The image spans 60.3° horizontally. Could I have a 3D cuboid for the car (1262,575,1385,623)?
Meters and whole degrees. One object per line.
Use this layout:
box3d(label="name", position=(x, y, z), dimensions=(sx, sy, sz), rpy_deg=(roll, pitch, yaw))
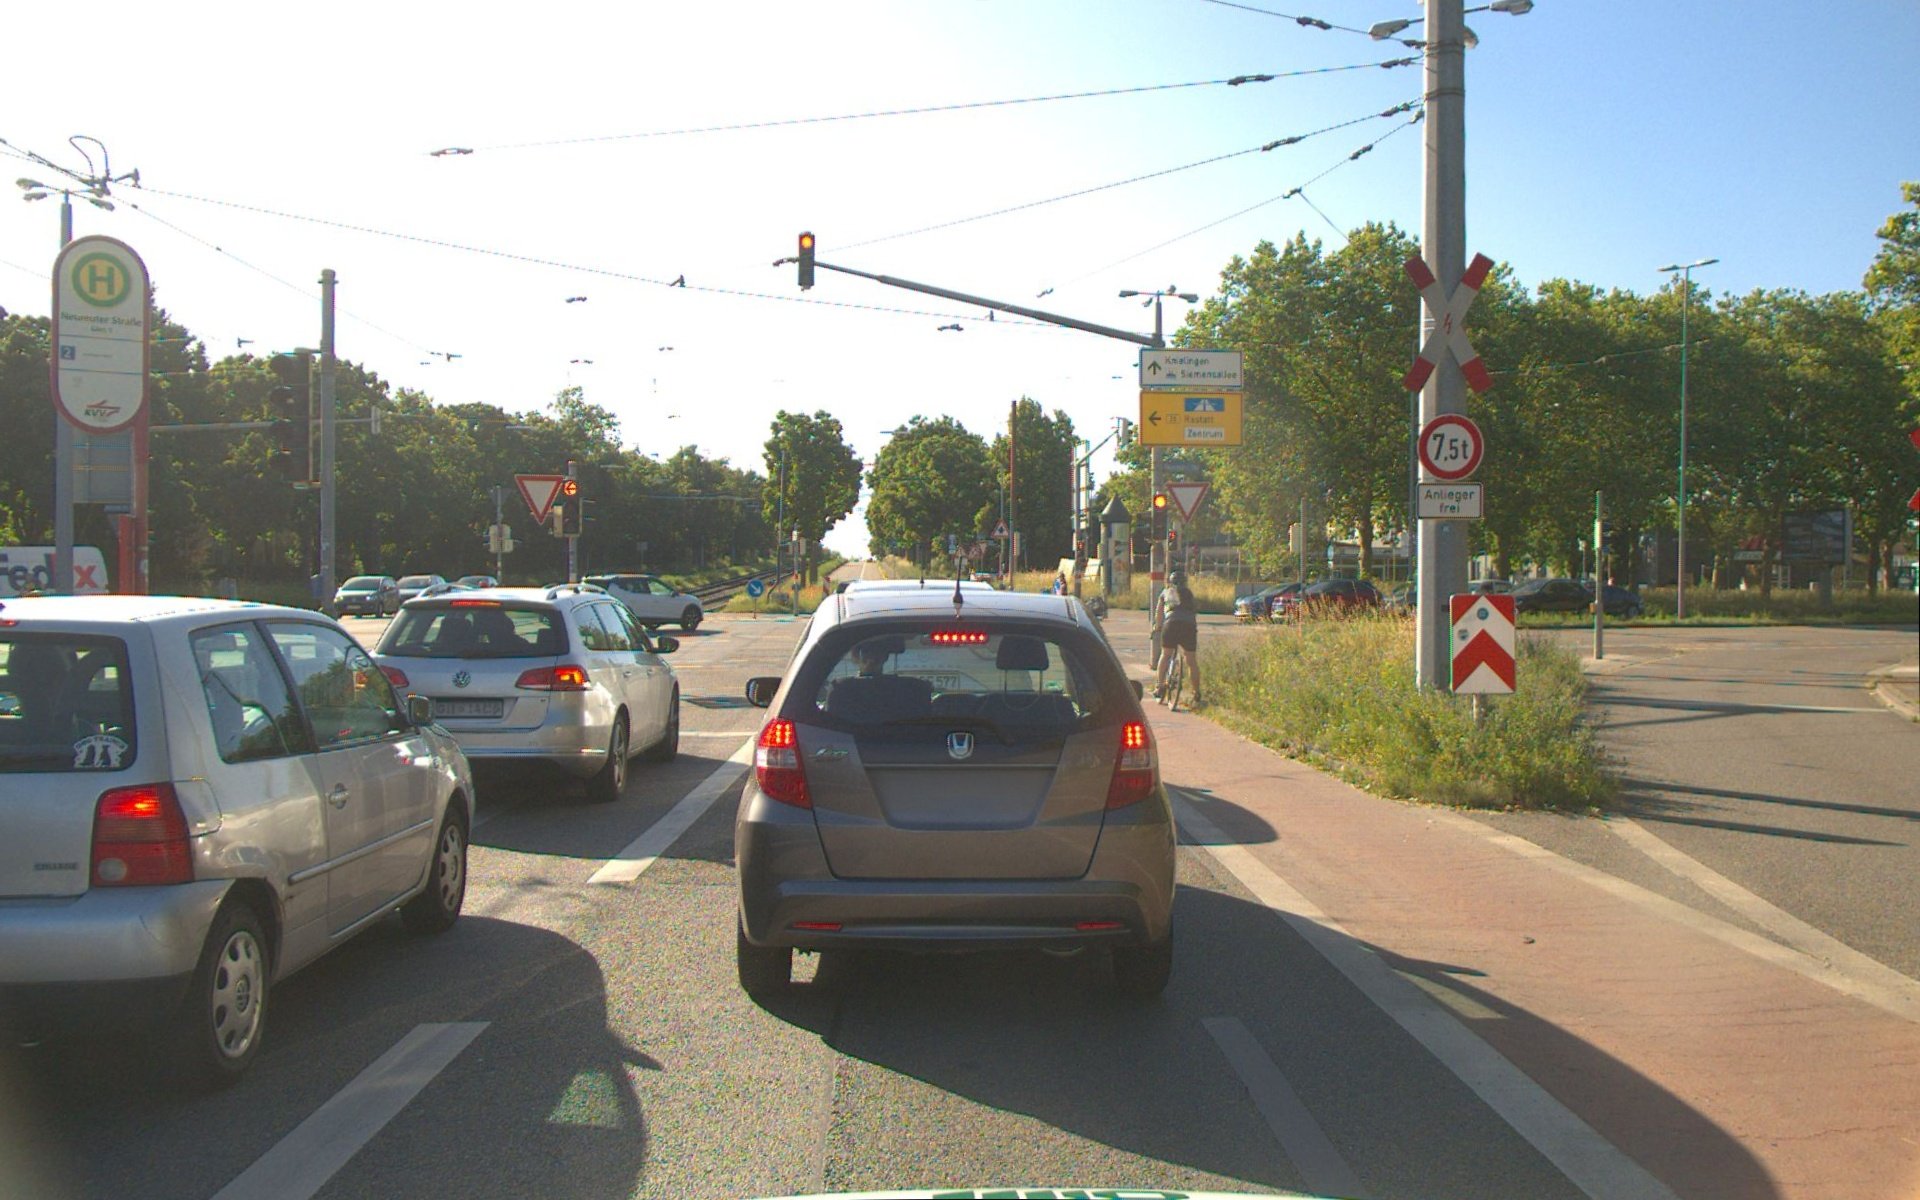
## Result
box3d(label="car", position=(12.353, -0.064, 56.162), dimensions=(3.934, 1.557, 1.594), rpy_deg=(-1, 1, -24))

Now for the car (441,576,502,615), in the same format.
box3d(label="car", position=(-21.739, -0.231, 73.783), dimensions=(1.956, 1.632, 4.746), rpy_deg=(1, 1, -8))

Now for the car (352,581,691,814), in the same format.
box3d(label="car", position=(-3.158, 0.636, 12.724), dimensions=(1.586, 1.482, 4.084), rpy_deg=(1, 0, -1))

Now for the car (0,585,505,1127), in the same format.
box3d(label="car", position=(-2.899, 0.690, 6.084), dimensions=(1.586, 1.442, 3.350), rpy_deg=(0, 0, -1))

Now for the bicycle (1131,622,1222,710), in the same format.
box3d(label="bicycle", position=(2.750, 0.816, 21.282), dimensions=(0.707, 1.006, 2.875), rpy_deg=(1, 0, -2))

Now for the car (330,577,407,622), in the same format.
box3d(label="car", position=(-21.322, -0.020, 59.746), dimensions=(1.798, 1.575, 3.993), rpy_deg=(0, 0, -8))

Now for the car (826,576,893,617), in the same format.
box3d(label="car", position=(-3.554, -0.121, 58.967), dimensions=(1.490, 1.403, 3.679), rpy_deg=(0, 0, 11))

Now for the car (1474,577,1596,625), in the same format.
box3d(label="car", position=(19.498, 0.010, 56.058), dimensions=(3.919, 1.571, 1.580), rpy_deg=(-1, 0, -24))

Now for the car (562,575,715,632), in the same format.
box3d(label="car", position=(-8.764, 0.070, 45.318), dimensions=(1.683, 1.504, 3.981), rpy_deg=(0, 1, 39))

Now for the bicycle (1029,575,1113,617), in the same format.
box3d(label="bicycle", position=(4.266, -0.153, 63.545), dimensions=(3.155, 1.602, 0.817), rpy_deg=(0, 0, -19))

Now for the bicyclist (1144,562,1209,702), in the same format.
box3d(label="bicyclist", position=(2.762, 0.403, 21.203), dimensions=(0.652, 1.746, 0.948), rpy_deg=(1, 0, -2))

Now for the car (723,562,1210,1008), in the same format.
box3d(label="car", position=(-0.066, 0.607, 7.354), dimensions=(1.635, 1.487, 3.584), rpy_deg=(0, 0, -3))

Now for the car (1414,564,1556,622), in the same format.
box3d(label="car", position=(19.016, -0.281, 59.883), dimensions=(4.823, 2.049, 1.985), rpy_deg=(0, 0, -24))

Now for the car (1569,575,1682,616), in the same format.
box3d(label="car", position=(27.159, -0.191, 67.457), dimensions=(4.450, 1.601, 1.681), rpy_deg=(0, 0, -24))

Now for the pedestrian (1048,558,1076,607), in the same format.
box3d(label="pedestrian", position=(3.911, -0.672, 63.412), dimensions=(0.839, 1.868, 0.787), rpy_deg=(0, 0, -18))

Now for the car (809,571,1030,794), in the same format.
box3d(label="car", position=(-0.337, 0.580, 13.985), dimensions=(1.578, 1.589, 4.287), rpy_deg=(0, 0, -1))

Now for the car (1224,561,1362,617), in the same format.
box3d(label="car", position=(12.171, -0.383, 60.447), dimensions=(4.626, 1.912, 1.985), rpy_deg=(2, 0, -24))

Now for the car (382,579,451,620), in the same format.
box3d(label="car", position=(-21.491, -0.041, 65.534), dimensions=(1.798, 1.575, 4.277), rpy_deg=(0, 0, -8))

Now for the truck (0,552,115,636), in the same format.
box3d(label="truck", position=(-30.182, -0.195, 51.955), dimensions=(1.953, 2.610, 6.821), rpy_deg=(0, 0, 23))
